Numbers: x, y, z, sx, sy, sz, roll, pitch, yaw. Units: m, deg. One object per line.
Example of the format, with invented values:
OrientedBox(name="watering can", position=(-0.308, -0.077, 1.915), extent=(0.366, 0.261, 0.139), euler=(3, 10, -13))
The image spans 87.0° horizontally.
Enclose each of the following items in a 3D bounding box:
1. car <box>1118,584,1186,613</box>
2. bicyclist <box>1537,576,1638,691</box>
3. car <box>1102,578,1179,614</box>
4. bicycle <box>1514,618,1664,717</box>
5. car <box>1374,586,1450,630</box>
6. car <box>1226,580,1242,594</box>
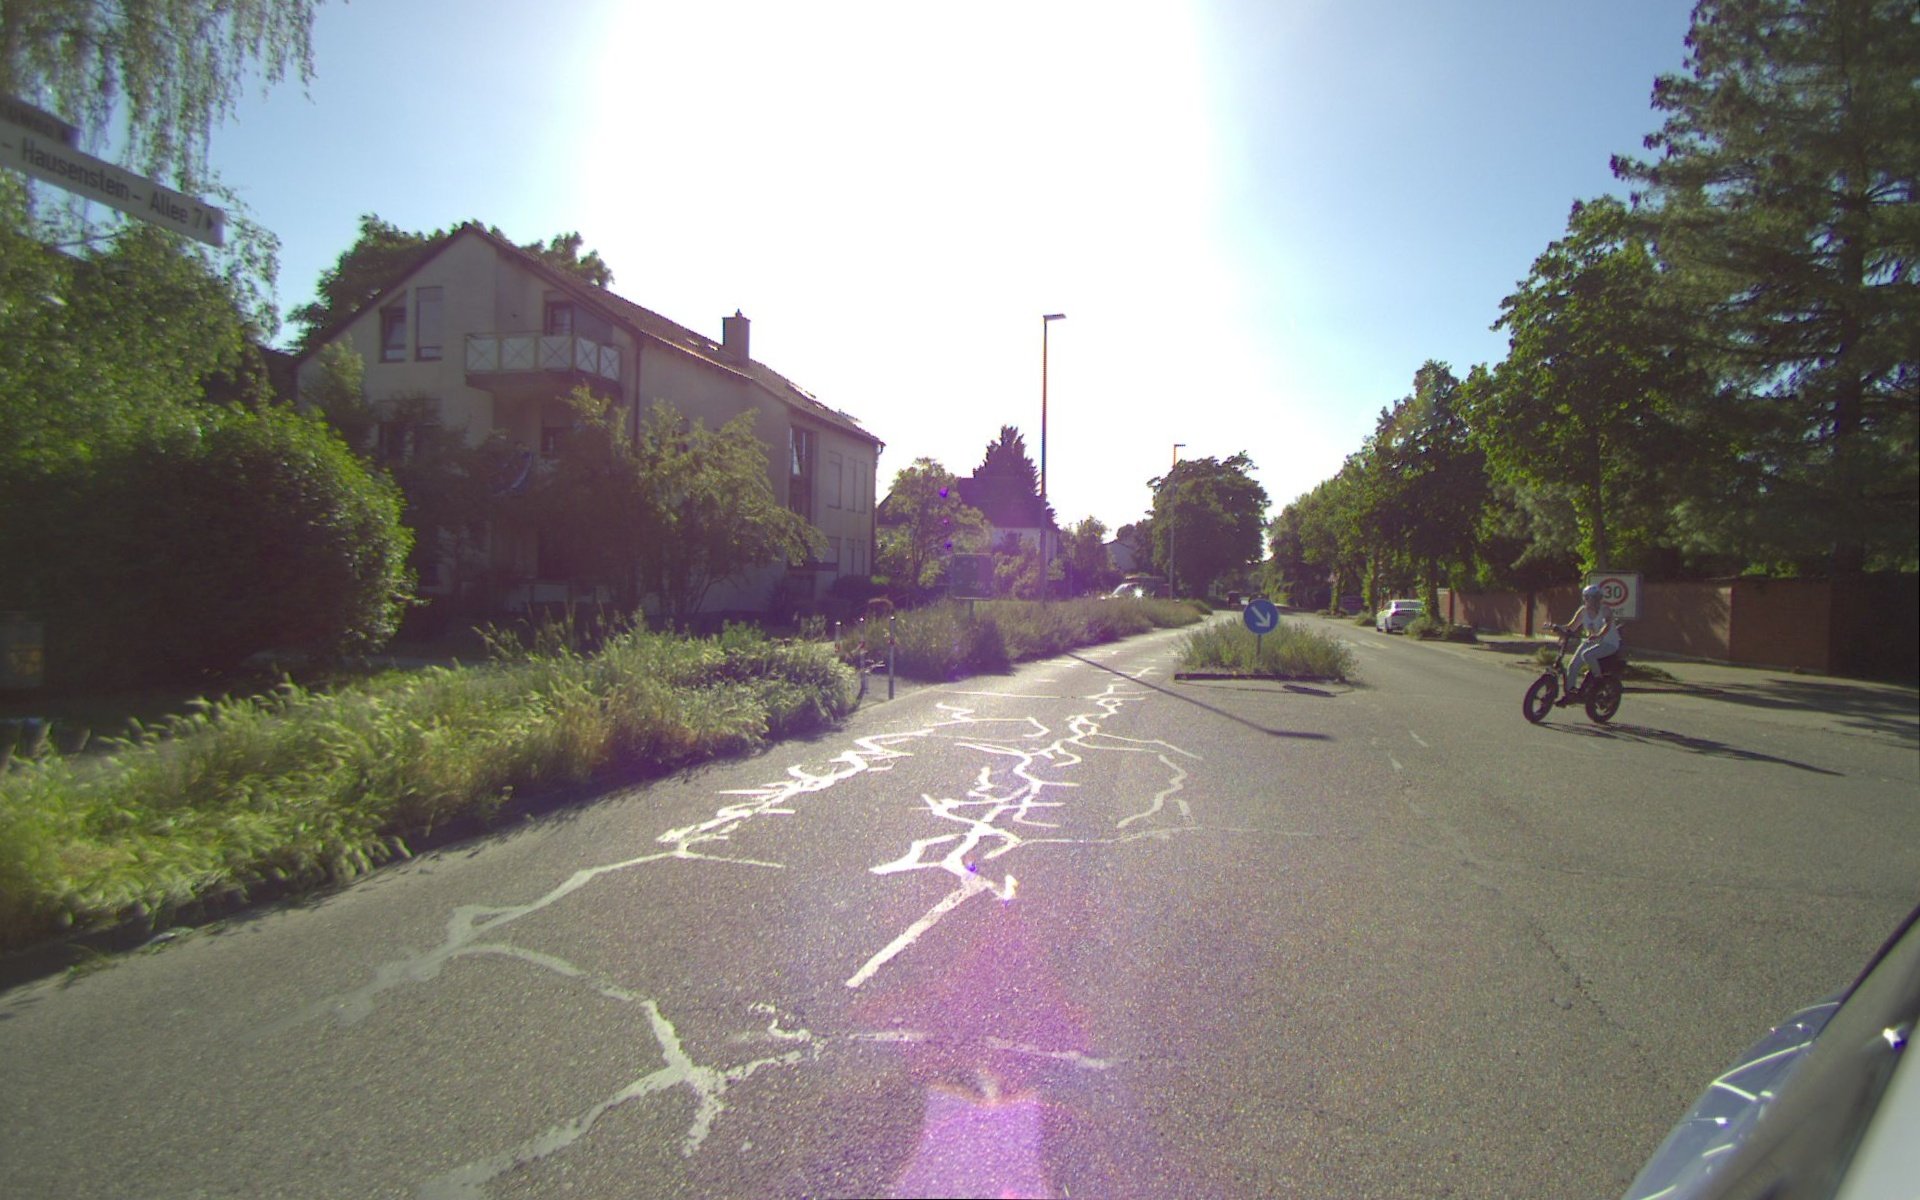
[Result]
OrientedBox(name="car", position=(10.662, -0.102, 56.303), extent=(3.326, 1.459, 1.618), euler=(1, 1, -6))
OrientedBox(name="bicyclist", position=(7.733, 0.397, 12.488), extent=(0.821, 1.364, 0.640), euler=(1, 1, -18))
OrientedBox(name="car", position=(9.523, -0.213, 53.440), extent=(3.573, 1.738, 1.753), euler=(1, 1, -20))
OrientedBox(name="bicycle", position=(7.795, 0.833, 12.536), extent=(1.858, 1.159, 0.459), euler=(2, 1, -18))
OrientedBox(name="car", position=(19.077, 0.276, 42.879), extent=(1.968, 1.679, 3.989), euler=(2, 2, 10))
OrientedBox(name="car", position=(38.001, -1.754, 140.232), extent=(1.972, 1.838, 3.980), euler=(2, 2, 16))
